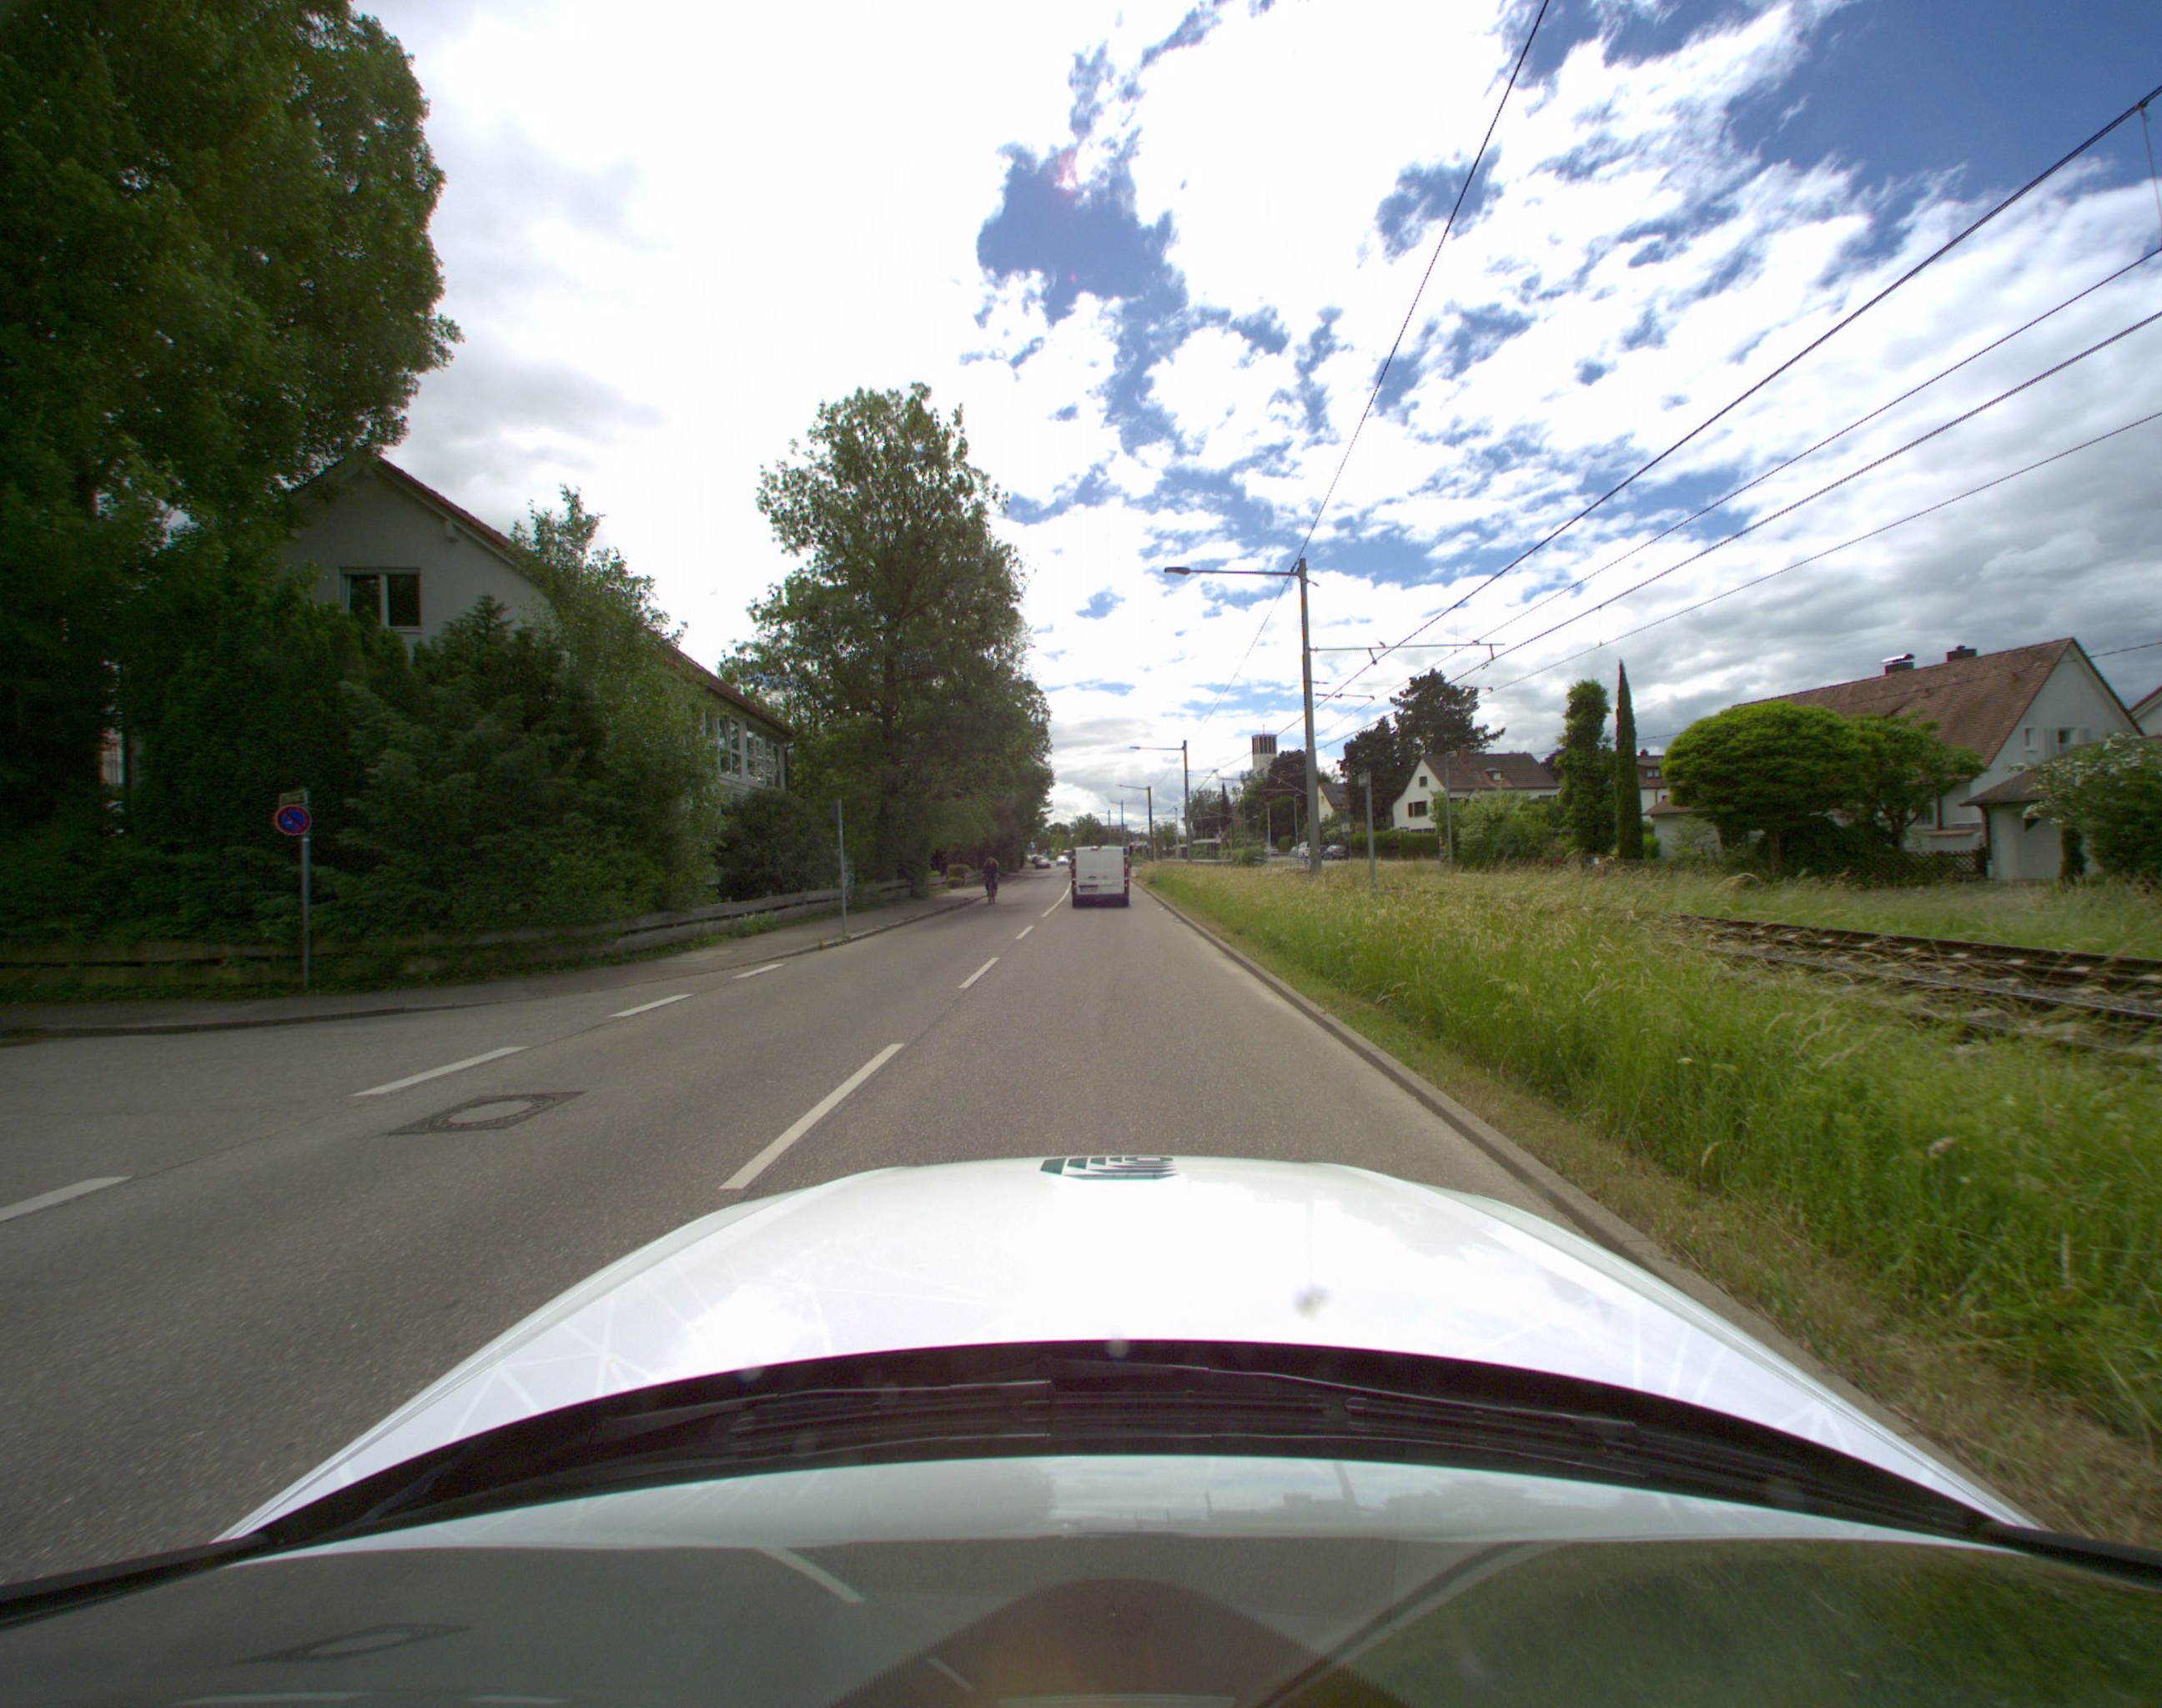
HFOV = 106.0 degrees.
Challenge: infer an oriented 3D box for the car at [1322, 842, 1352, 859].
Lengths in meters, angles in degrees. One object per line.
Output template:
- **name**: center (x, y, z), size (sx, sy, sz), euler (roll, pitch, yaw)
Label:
- **car**: center (25.486, -0.348, 81.301), size (1.876, 1.522, 4.003), euler (-2, 0, 3)

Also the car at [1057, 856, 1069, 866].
- **car**: center (-2.718, 1.025, 120.314), size (1.689, 1.430, 3.784), euler (-4, 0, -2)

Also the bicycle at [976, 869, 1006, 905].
- **bicycle**: center (-3.443, 1.246, 31.271), size (0.752, 1.226, 2.309), euler (-4, 0, 2)

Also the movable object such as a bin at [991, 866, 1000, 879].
- **movable object such as a bin**: center (-6.047, 1.313, 57.520), size (0.511, 0.945, 0.568), euler (-1, 0, 1)

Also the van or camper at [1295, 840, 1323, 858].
- **van or camper**: center (25.762, -0.547, 92.203), size (1.898, 1.826, 5.051), euler (-2, 0, 3)

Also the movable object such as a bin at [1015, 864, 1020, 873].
- **movable object such as a bin**: center (-6.651, 1.517, 84.942), size (0.463, 0.930, 0.428), euler (2, -2, -16)

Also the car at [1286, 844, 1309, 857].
- **car**: center (26.043, -0.410, 98.168), size (1.876, 1.522, 4.003), euler (-2, 0, 3)

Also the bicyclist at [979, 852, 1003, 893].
- **bicyclist**: center (-3.485, 0.698, 31.582), size (0.775, 1.549, 0.870), euler (-2, 0, 1)

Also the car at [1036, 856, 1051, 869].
- **car**: center (-4.793, 1.021, 104.234), size (1.734, 1.505, 4.470), euler (-4, 0, -5)

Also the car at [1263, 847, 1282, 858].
- **car**: center (26.813, -0.186, 114.028), size (1.876, 1.522, 4.003), euler (-2, 0, 3)

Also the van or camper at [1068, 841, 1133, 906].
- **van or camper**: center (0.694, 0.635, 27.613), size (1.986, 2.014, 4.448), euler (-1, -1, 2)

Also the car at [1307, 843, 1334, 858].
- **car**: center (25.618, -0.396, 87.350), size (1.876, 1.522, 4.003), euler (-2, 0, 3)
